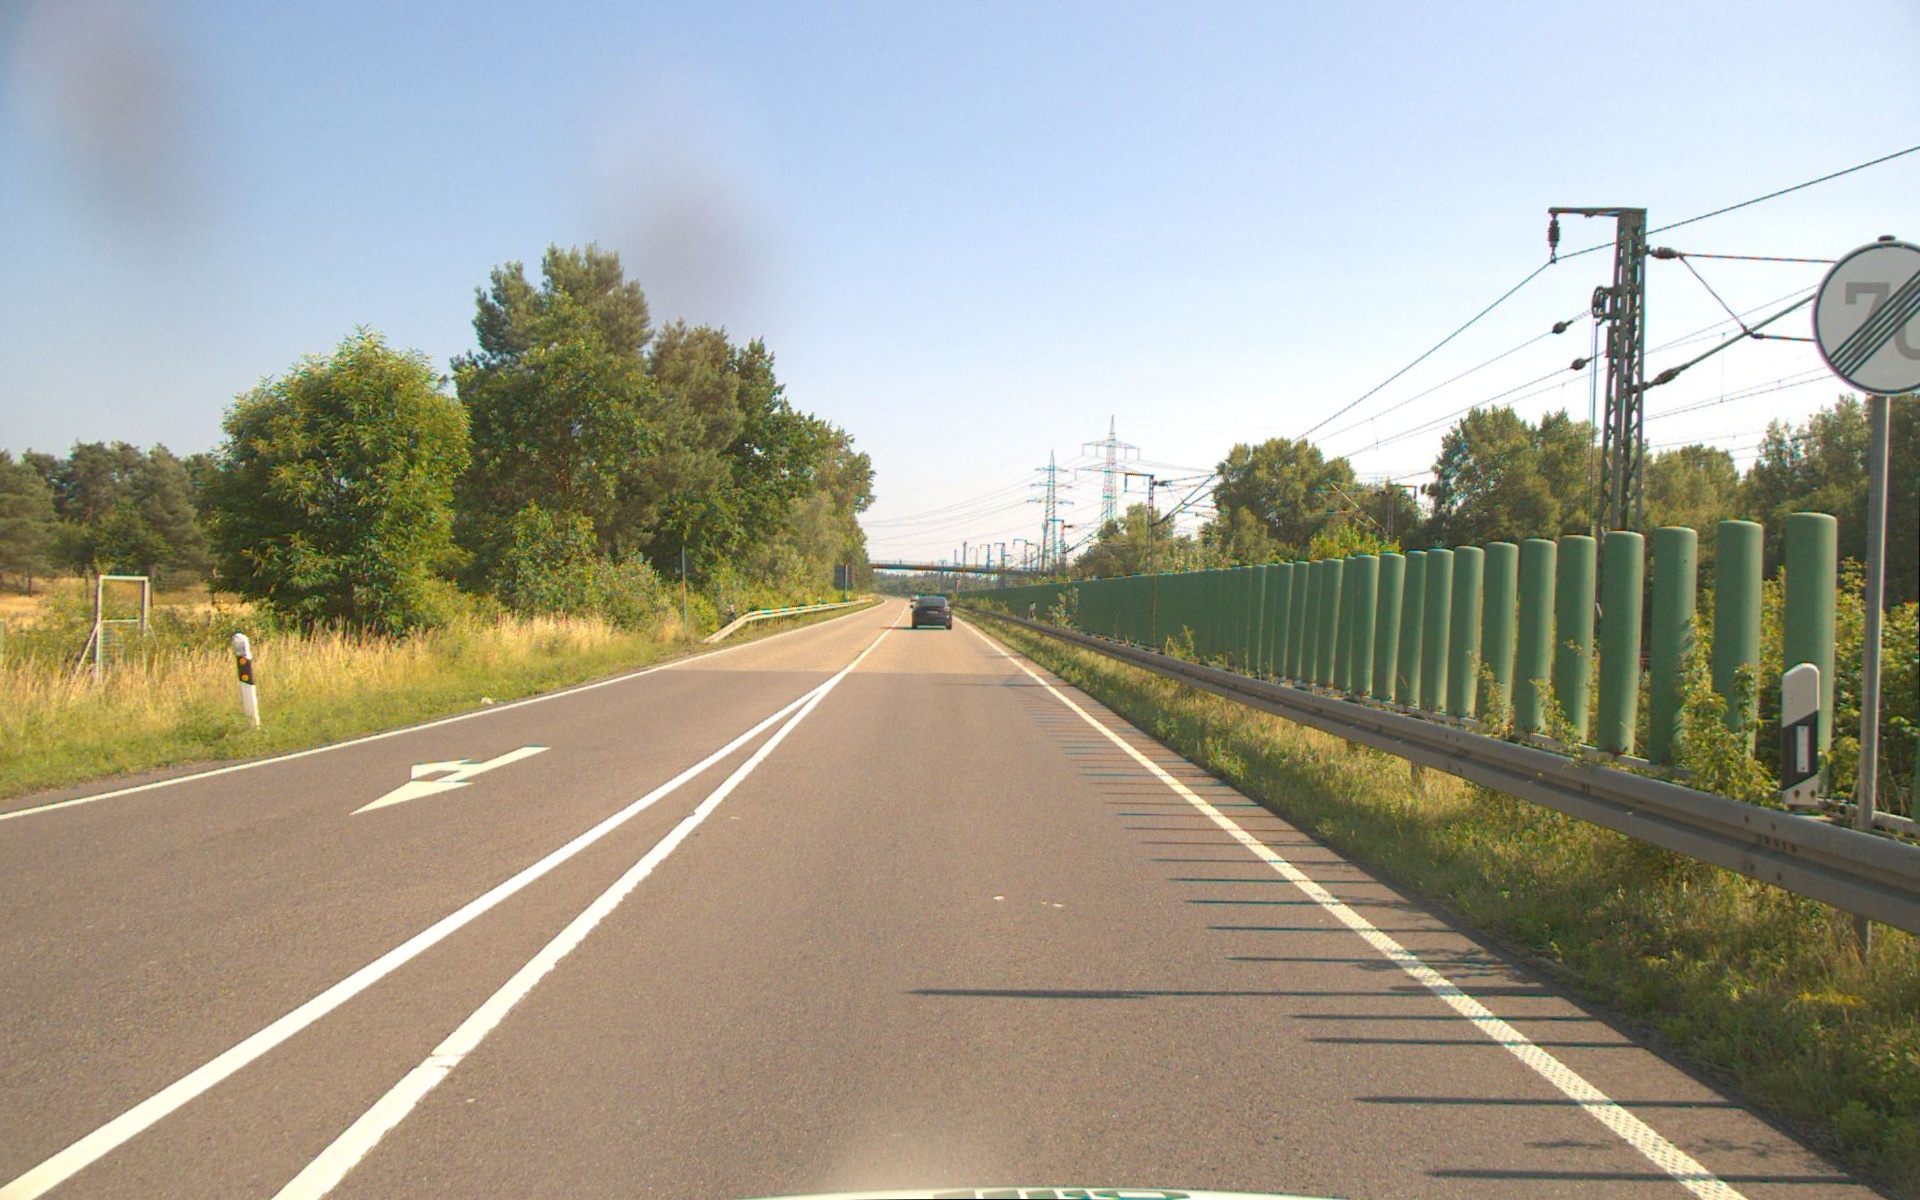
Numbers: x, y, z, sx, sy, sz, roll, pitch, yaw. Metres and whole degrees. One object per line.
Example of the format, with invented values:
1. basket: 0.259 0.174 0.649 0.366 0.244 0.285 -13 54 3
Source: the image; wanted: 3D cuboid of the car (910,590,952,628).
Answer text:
1. car: -1.338 0.384 74.552 1.821 1.670 3.998 1 0 -2
